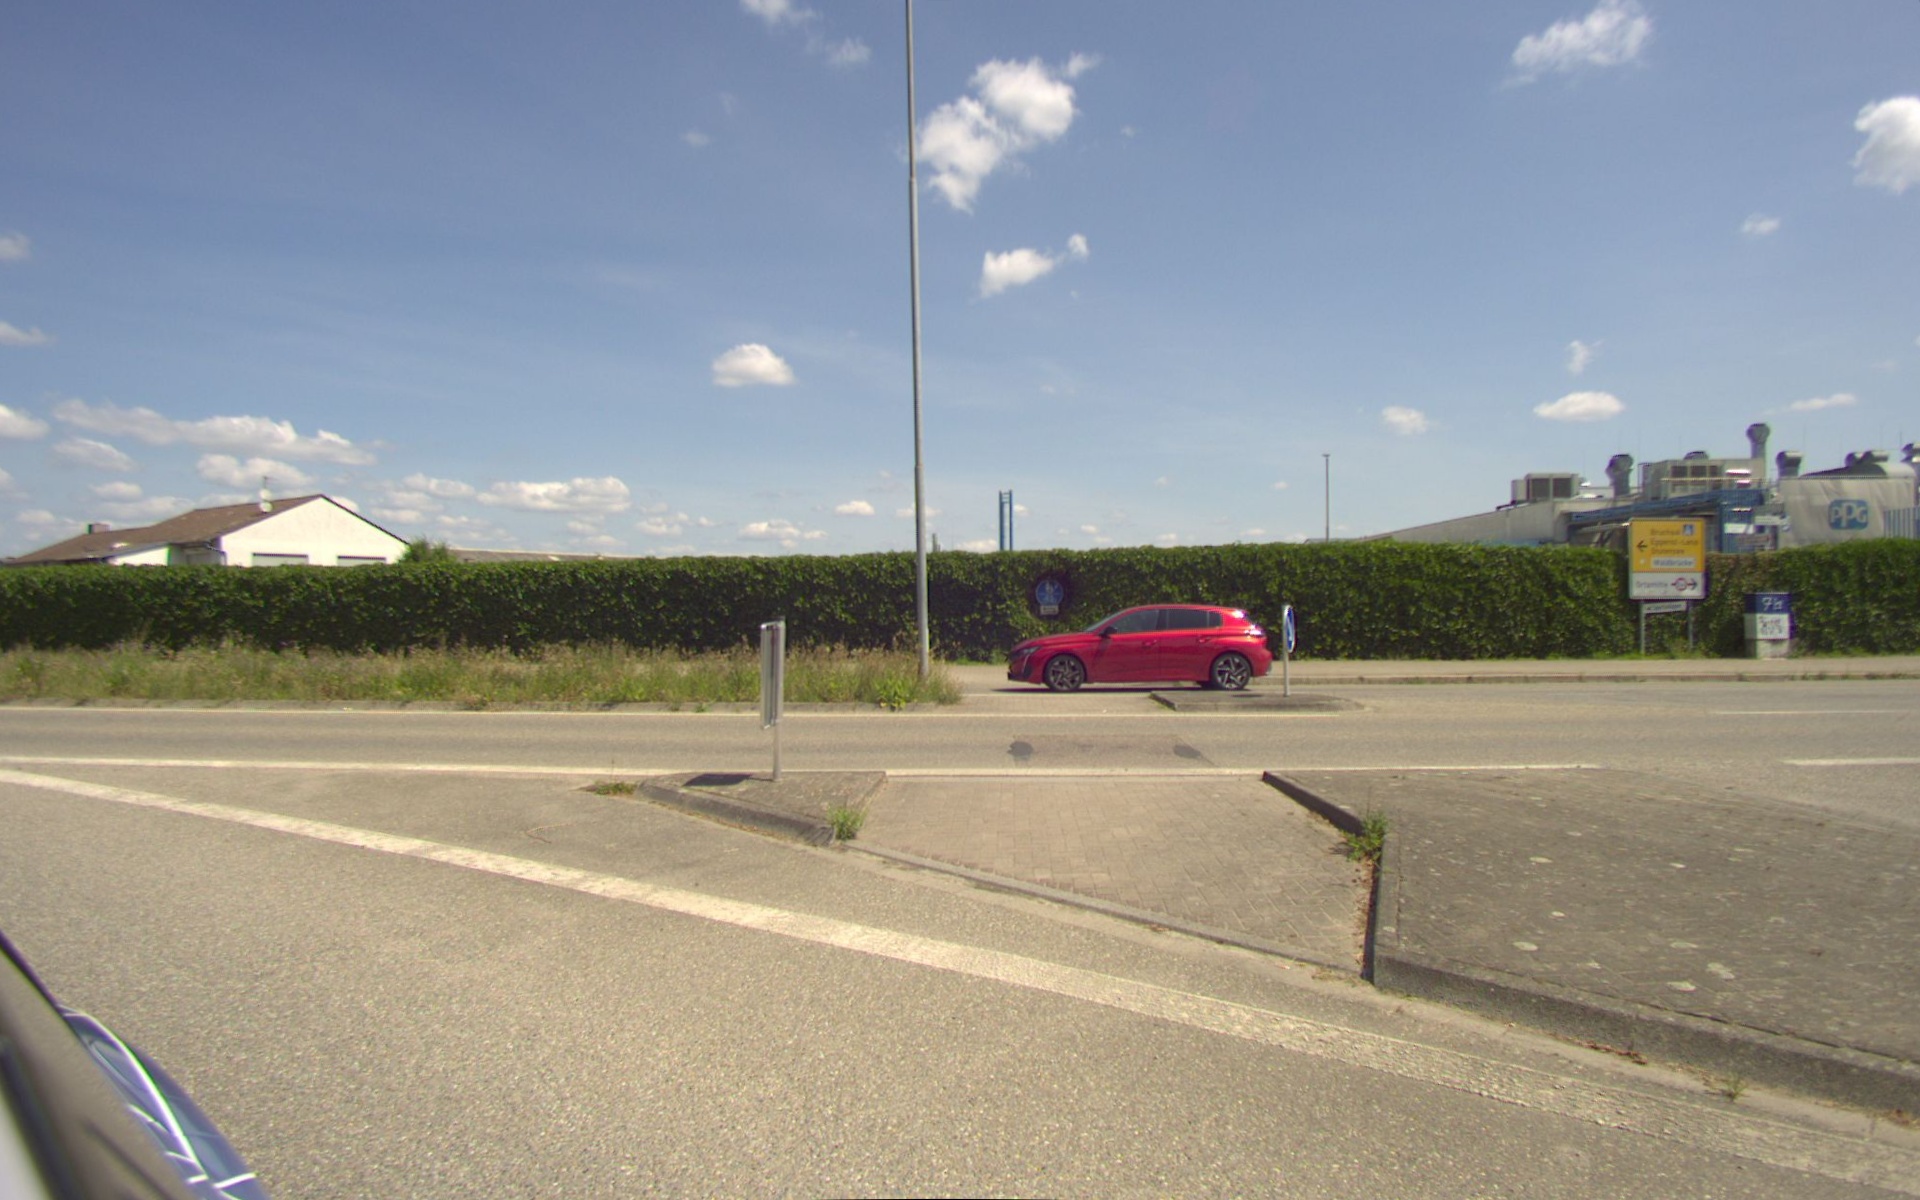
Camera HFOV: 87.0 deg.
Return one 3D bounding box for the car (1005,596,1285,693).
[{"bbox_3d":[2.935,0.729,16.879,4.328,1.475,1.884,-1,-2,3],"label":"car"}]
